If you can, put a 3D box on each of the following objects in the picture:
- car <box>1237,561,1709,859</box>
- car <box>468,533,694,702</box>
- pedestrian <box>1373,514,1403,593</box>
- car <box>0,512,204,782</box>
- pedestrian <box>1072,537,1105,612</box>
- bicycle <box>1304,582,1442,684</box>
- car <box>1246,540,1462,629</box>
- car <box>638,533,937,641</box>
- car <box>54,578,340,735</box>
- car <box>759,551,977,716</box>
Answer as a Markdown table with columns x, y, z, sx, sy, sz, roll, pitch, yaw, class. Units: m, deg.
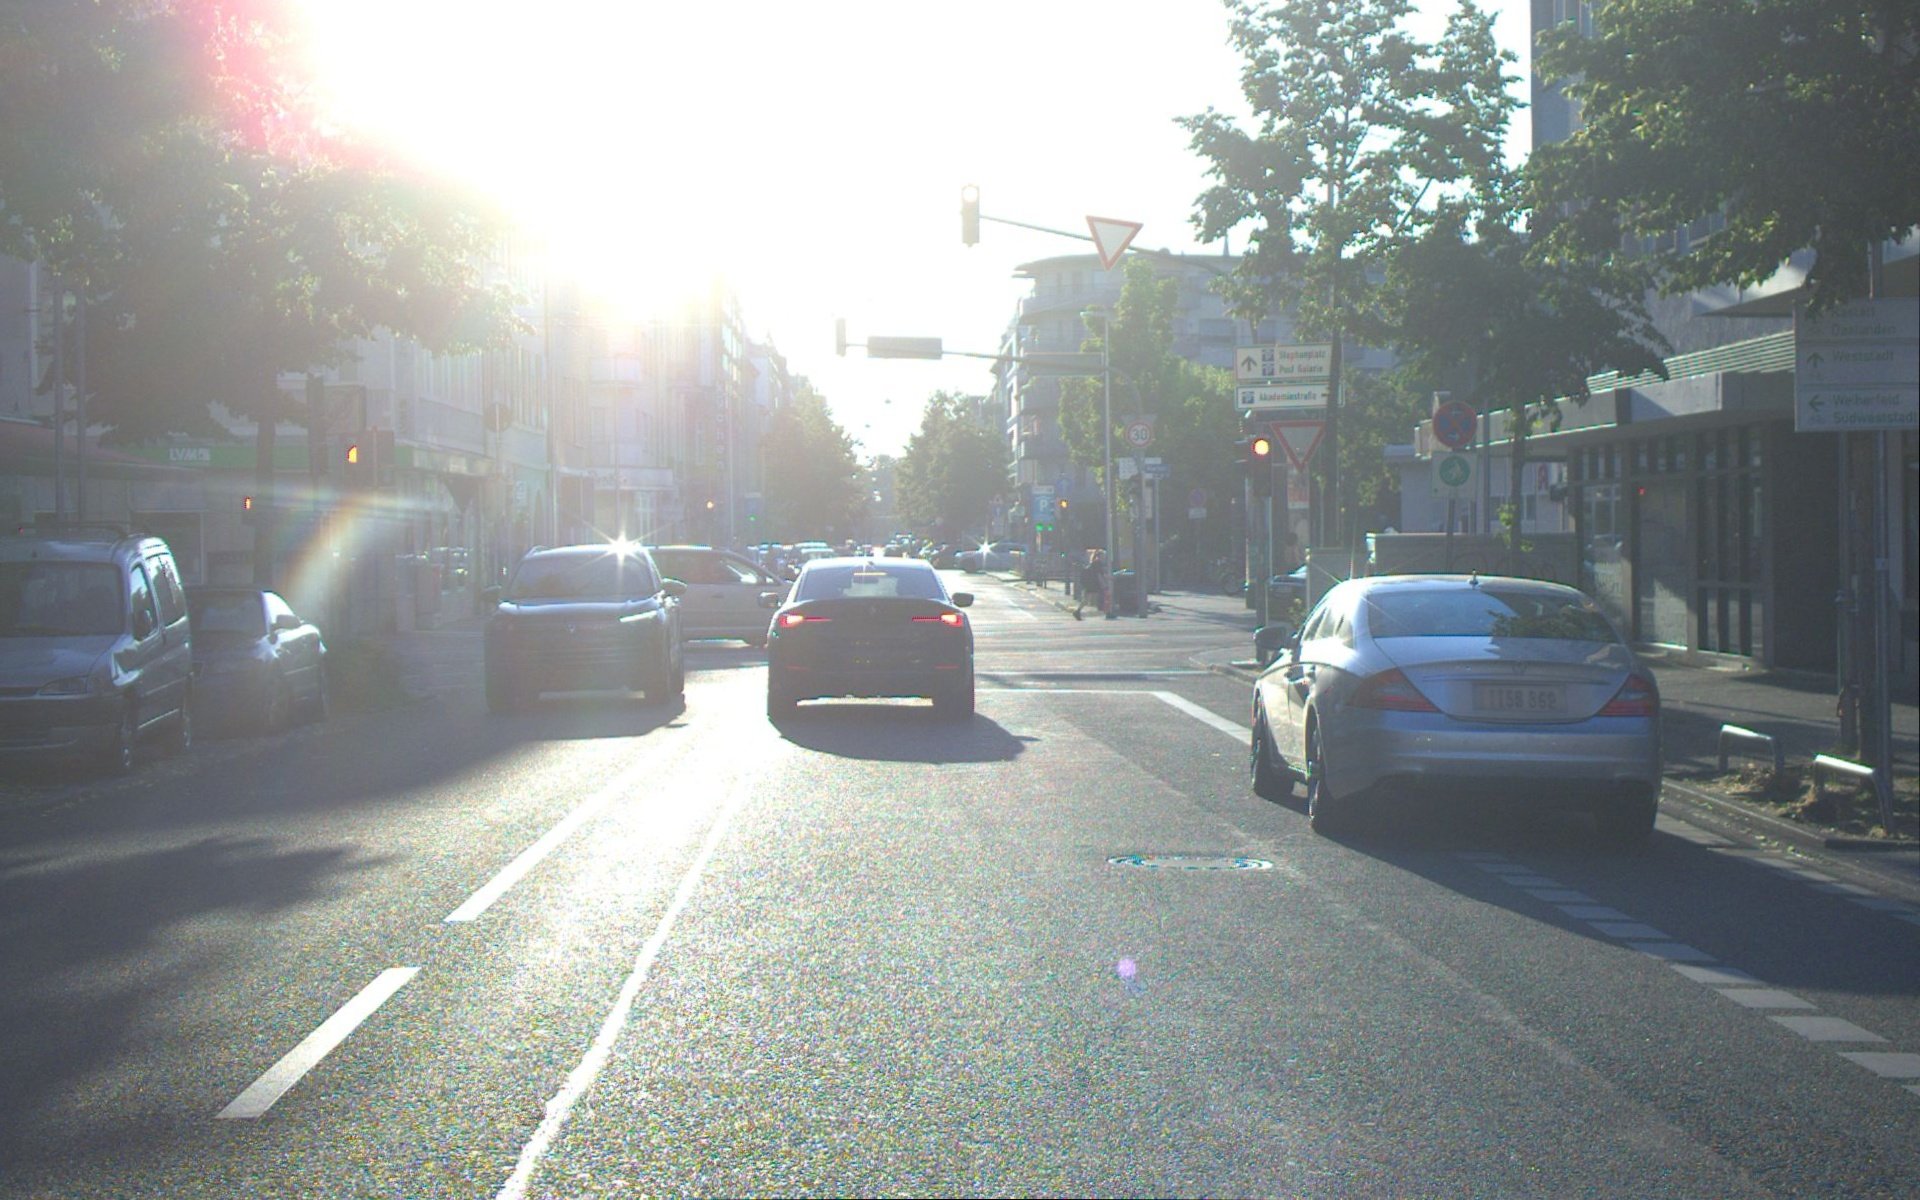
| x | y | z | sx | sy | sz | roll | pitch | yaw | class |
| --- | --- | --- | --- | --- | --- | --- | --- | --- | --- |
| 2.768 | 0.528 | 19.588 | 1.922 | 1.410 | 4.548 | 2 | 1 | -1 | car |
| -3.890 | 0.131 | 35.933 | 1.922 | 1.596 | 4.326 | 0 | 2 | -1 | car |
| 9.373 | -1.016 | 75.313 | 0.494 | 1.709 | 0.462 | -1 | 2 | -20 | pedestrian |
| -6.877 | 0.293 | 25.632 | 1.832 | 1.848 | 4.124 | 0 | 1 | -4 | car |
| 2.857 | -0.571 | 76.497 | 0.573 | 1.639 | 0.528 | -1 | 2 | -22 | pedestrian |
| 4.792 | 0.379 | 39.918 | 1.538 | 1.142 | 0.381 | 1 | 2 | 0 | bicycle |
| 6.744 | -0.285 | 58.893 | 3.343 | 1.422 | 1.571 | -1 | 2 | -22 | car |
| -2.730 | -0.230 | 54.438 | 4.310 | 1.596 | 1.929 | -1 | 2 | -26 | car |
| -6.896 | 0.468 | 31.461 | 1.833 | 1.323 | 4.124 | 0 | 1 | -2 | car |
| -0.818 | 0.262 | 31.992 | 1.883 | 1.410 | 4.325 | 0 | 1 | -1 | car |
